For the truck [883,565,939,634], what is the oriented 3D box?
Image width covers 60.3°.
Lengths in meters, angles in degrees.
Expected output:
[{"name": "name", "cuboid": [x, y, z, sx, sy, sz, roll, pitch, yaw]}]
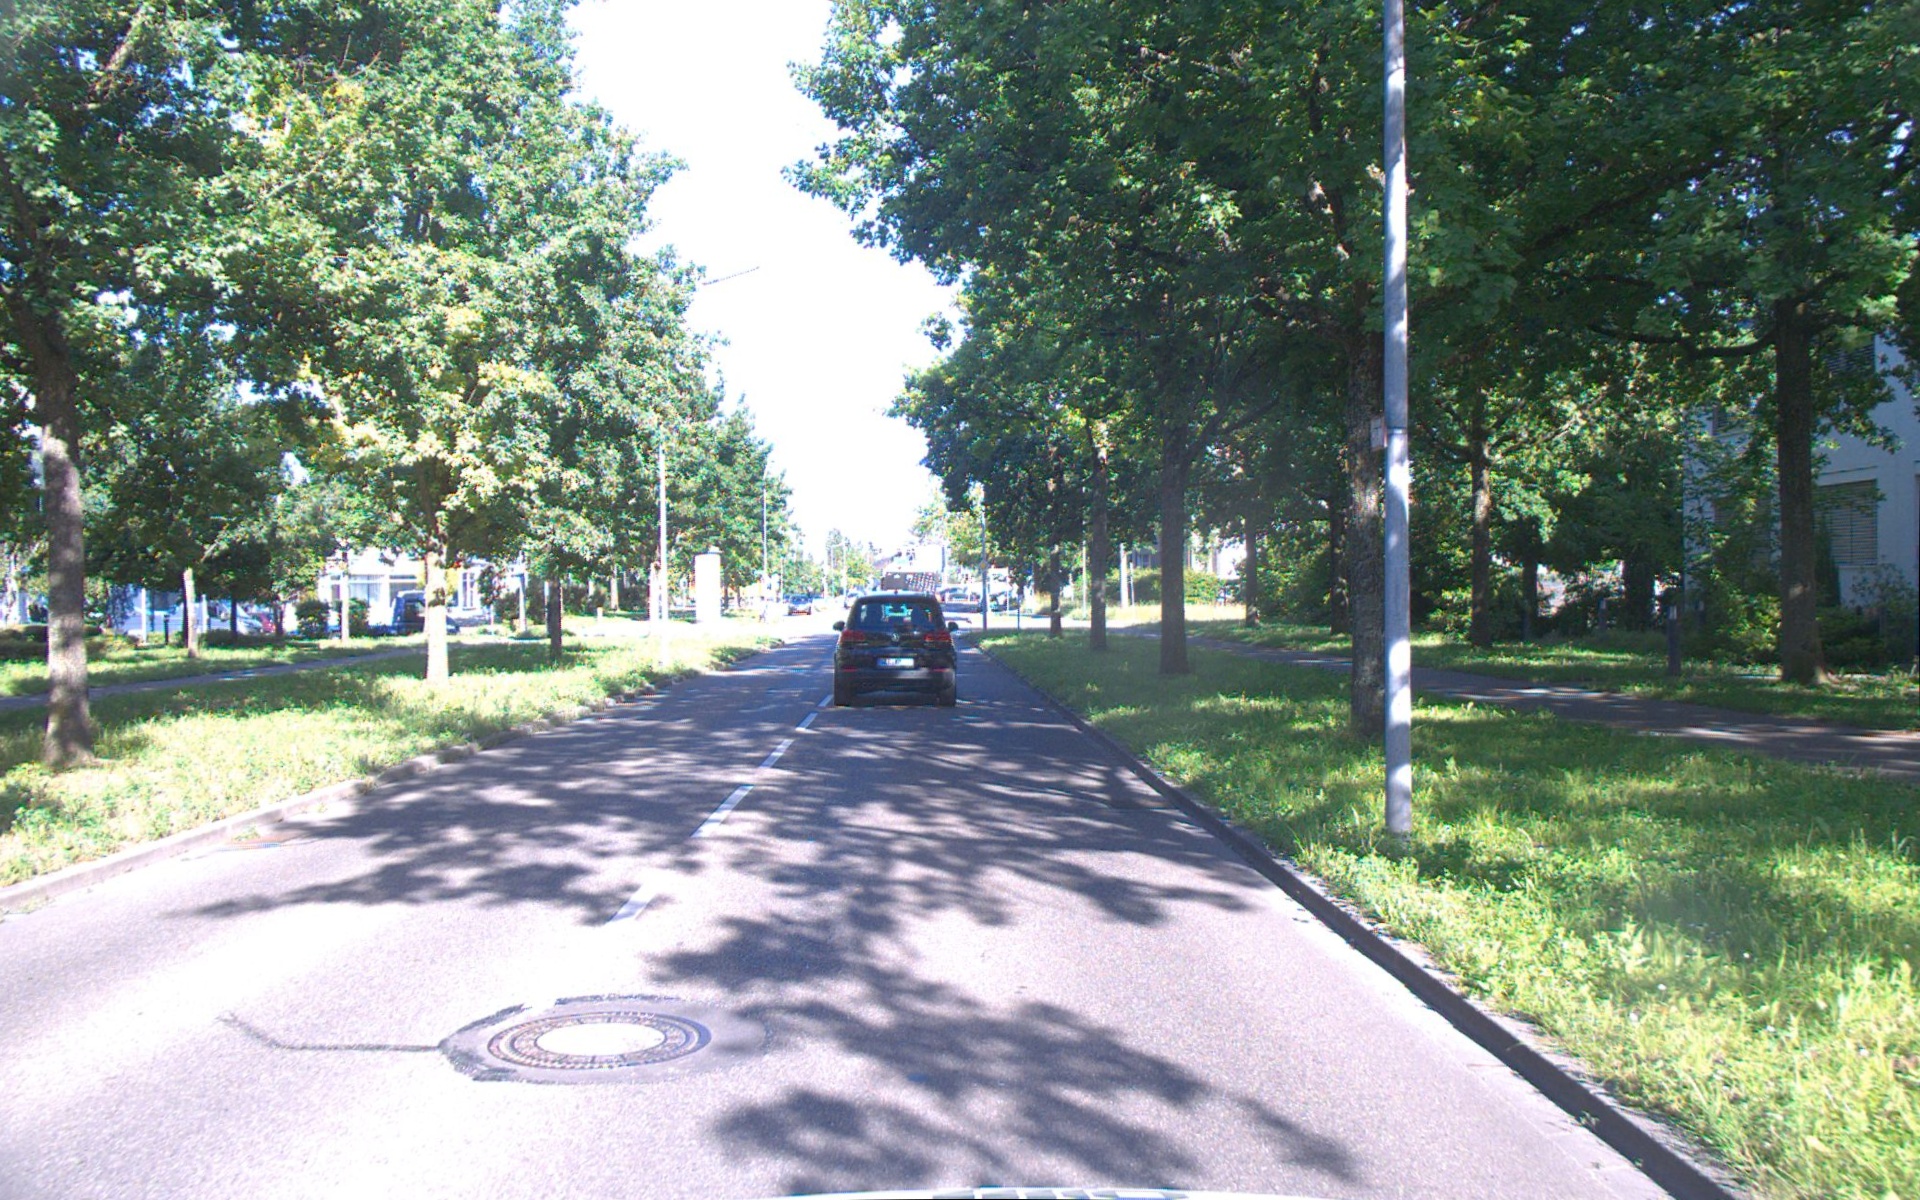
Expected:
[{"name": "truck", "cuboid": [-2.424, -0.048, 84.135, 2.460, 3.300, 8.153, -1, 0, 1]}]

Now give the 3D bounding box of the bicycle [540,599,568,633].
[{"name": "bicycle", "cuboid": [-16.763, 0.648, 68.290, 0.702, 1.344, 1.991, 1, 0, -2]}]

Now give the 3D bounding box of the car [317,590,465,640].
[{"name": "car", "cuboid": [-24.134, 0.646, 70.355, 5.687, 2.049, 1.995, 1, 0, -11]}]

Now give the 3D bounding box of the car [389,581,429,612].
[{"name": "car", "cuboid": [-40.825, -0.259, 122.640, 1.956, 2.275, 3.994, -1, 0, -7]}]

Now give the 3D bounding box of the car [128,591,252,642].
[{"name": "car", "cuboid": [-26.412, 0.546, 56.790, 3.288, 1.671, 2.001, 1, 0, 4]}]

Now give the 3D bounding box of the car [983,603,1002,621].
[{"name": "car", "cuboid": [2.622, 0.965, 133.105, 1.422, 1.430, 2.855, 1, 0, 0]}]

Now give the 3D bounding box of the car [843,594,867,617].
[{"name": "car", "cuboid": [-9.620, 0.463, 151.583, 1.955, 2.049, 3.995, 1, 0, -6]}]

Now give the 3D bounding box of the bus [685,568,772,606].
[{"name": "bus", "cuboid": [-24.362, -1.409, 174.183, 8.939, 3.844, 3.379, 1, 0, -10]}]

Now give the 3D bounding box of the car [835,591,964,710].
[{"name": "car", "cuboid": [-0.852, 0.702, 25.483, 1.745, 1.662, 4.001, 1, 0, 1]}]

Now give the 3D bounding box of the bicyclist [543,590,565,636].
[{"name": "bicyclist", "cuboid": [-16.802, 0.532, 68.429, 0.672, 1.863, 0.934, 1, 0, -2]}]

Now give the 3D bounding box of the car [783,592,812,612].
[{"name": "car", "cuboid": [-12.657, 0.181, 128.646, 1.953, 1.481, 3.999, -1, 0, -2]}]
